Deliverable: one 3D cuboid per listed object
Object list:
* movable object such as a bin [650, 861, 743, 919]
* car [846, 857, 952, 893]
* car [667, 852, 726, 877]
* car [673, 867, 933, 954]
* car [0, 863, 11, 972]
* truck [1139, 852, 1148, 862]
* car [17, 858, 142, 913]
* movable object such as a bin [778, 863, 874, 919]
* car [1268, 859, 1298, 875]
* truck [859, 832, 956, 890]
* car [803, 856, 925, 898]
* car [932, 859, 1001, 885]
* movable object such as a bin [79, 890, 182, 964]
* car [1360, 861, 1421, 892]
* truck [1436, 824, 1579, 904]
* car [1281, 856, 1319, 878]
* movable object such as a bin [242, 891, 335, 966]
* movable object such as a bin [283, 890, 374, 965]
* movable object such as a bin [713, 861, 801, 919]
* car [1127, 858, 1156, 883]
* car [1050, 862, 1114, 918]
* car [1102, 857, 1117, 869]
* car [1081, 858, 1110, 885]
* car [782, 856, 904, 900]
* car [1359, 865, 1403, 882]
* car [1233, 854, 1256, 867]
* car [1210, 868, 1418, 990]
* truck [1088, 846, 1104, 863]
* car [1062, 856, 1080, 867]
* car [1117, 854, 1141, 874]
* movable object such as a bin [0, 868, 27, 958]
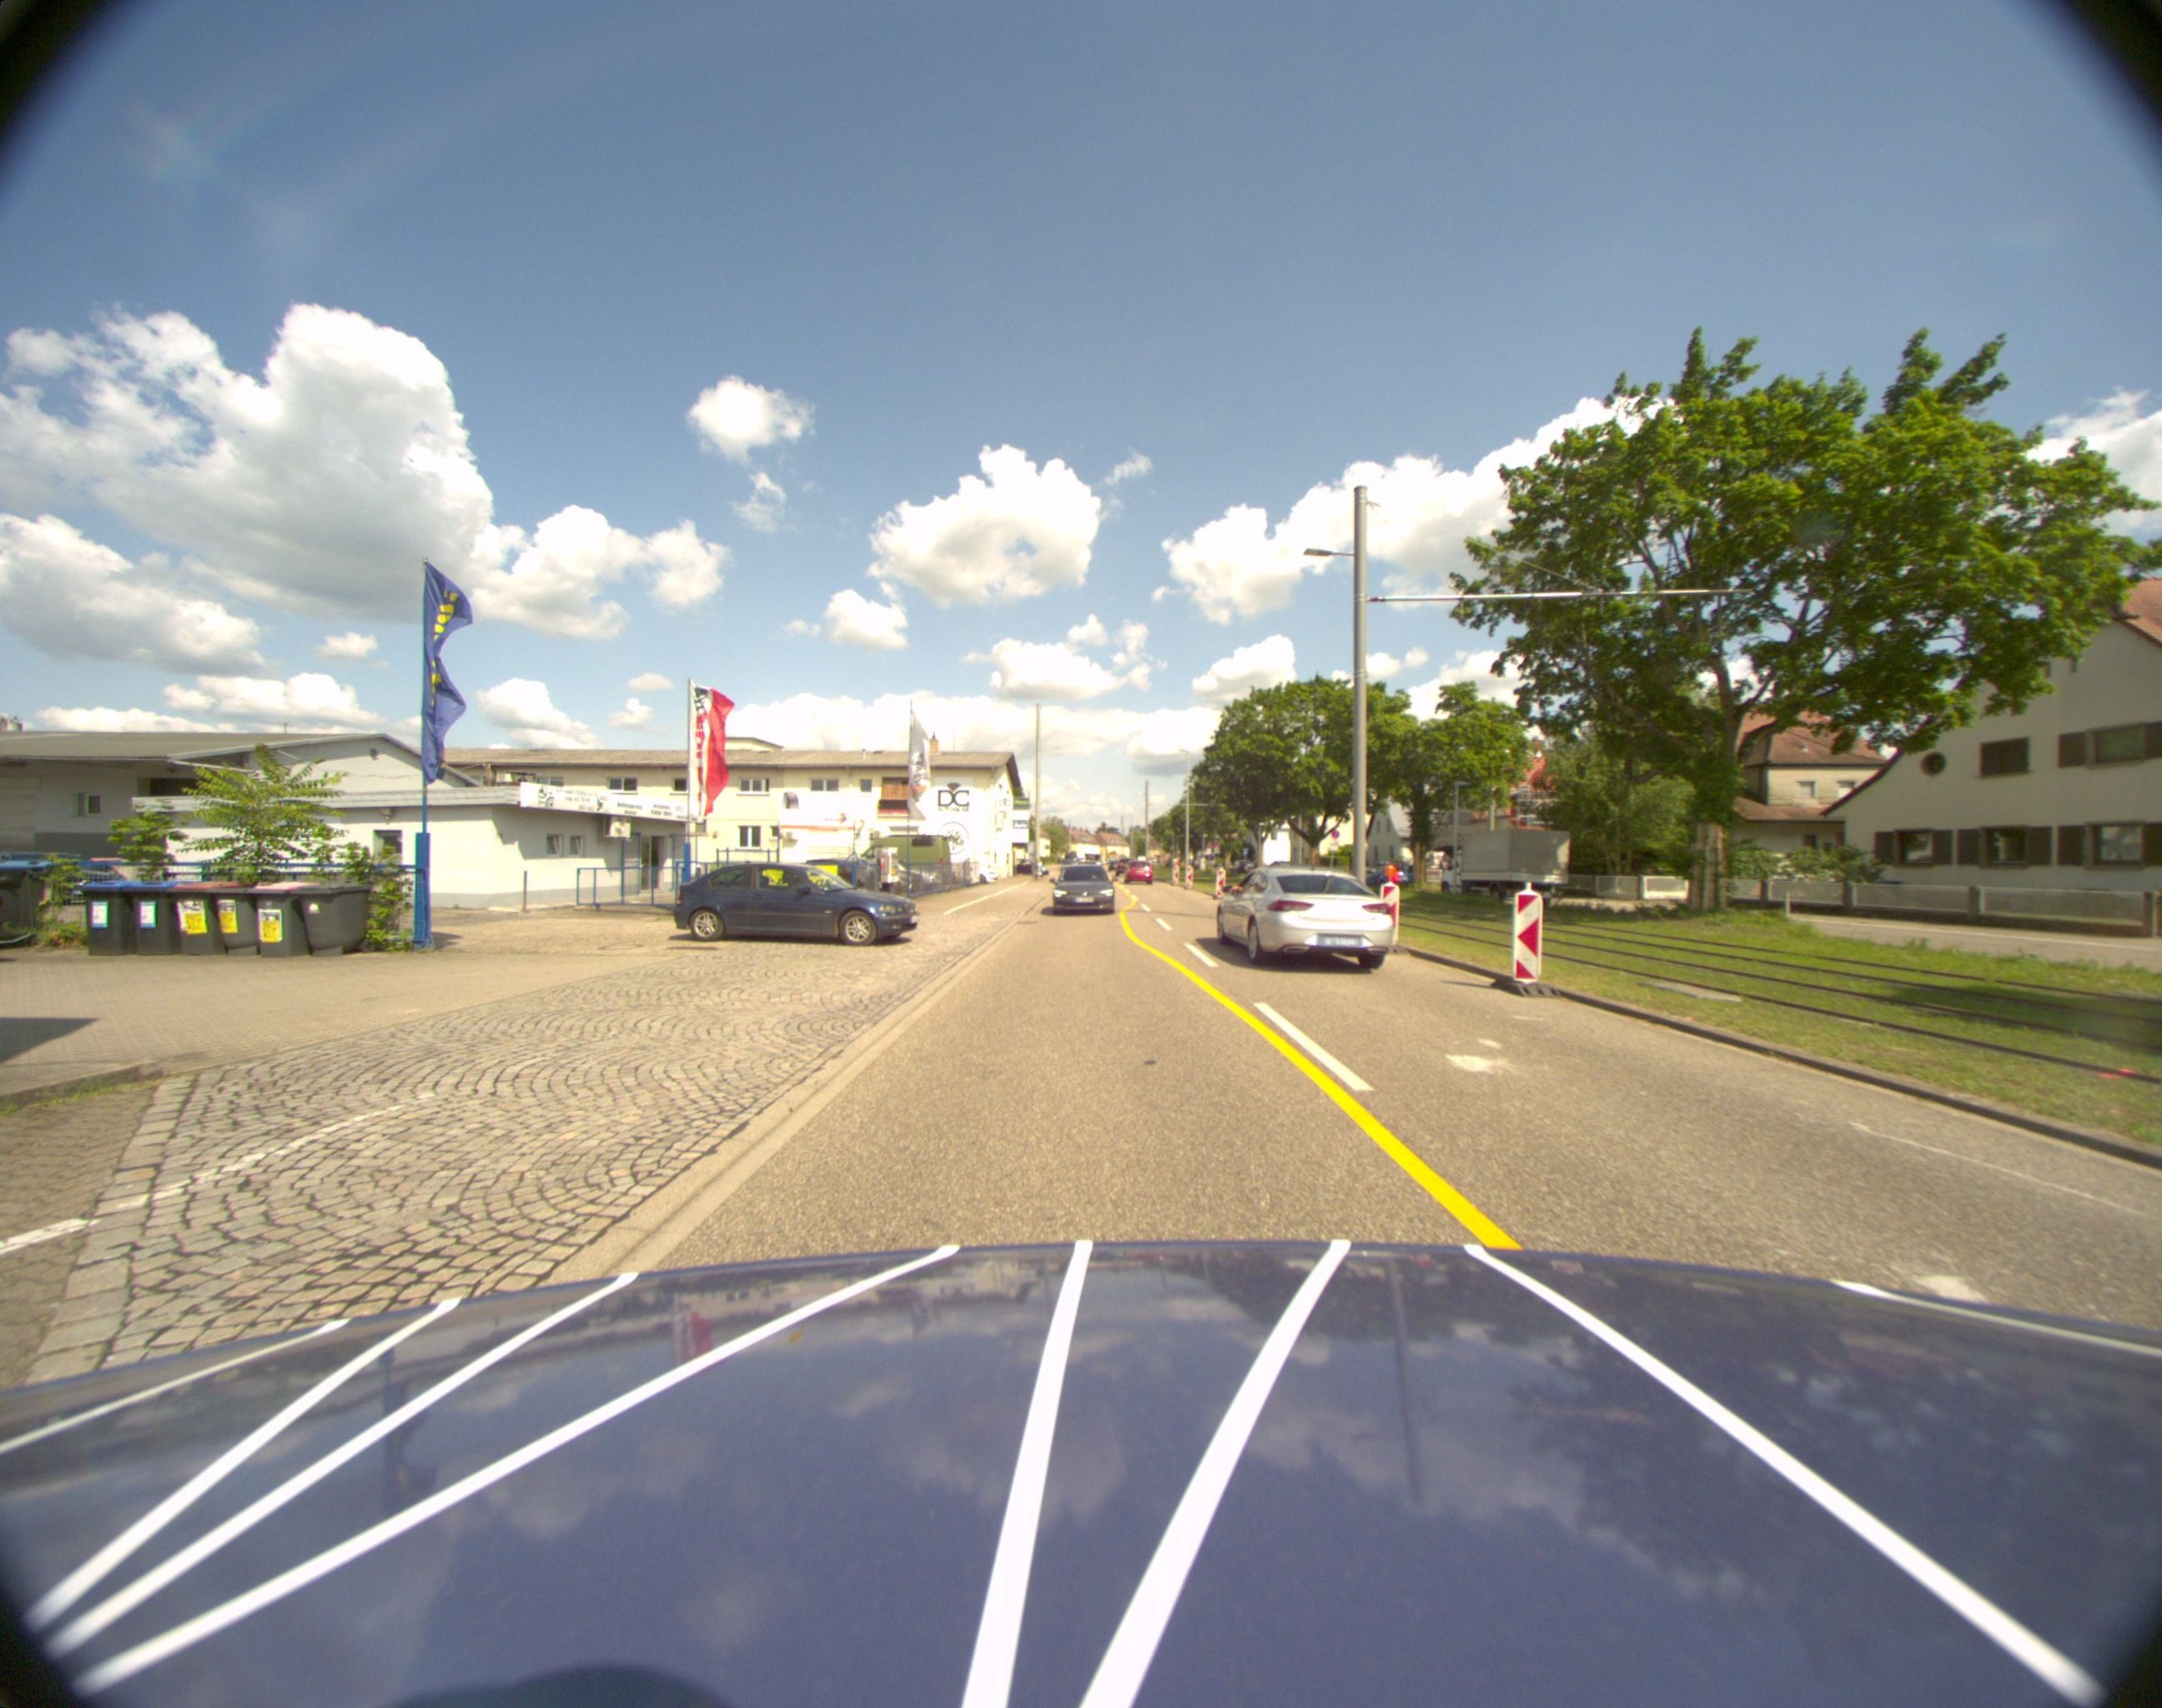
[{"bbox_3d":[-10.253,0.937,20.343,1.536,1.402,1.765,-2,1,0],"label":"movable object such as a bin"},{"bbox_3d":[-8.252,0.938,34.584,4.257,1.499,1.828,-1,1,9],"label":"car"},{"bbox_3d":[-21.115,0.569,41.858,1.453,1.254,3.276,-2,1,2],"label":"car"},{"bbox_3d":[-4.906,0.956,13.669,4.060,1.400,1.648,0,1,7],"label":"car"},{"bbox_3d":[-16.197,0.806,9.186,4.144,1.416,1.771,1,1,2],"label":"car"},{"bbox_3d":[20.191,0.981,244.006,2.665,2.786,7.539,-1,1,4],"label":"truck"},{"bbox_3d":[-26.599,0.796,20.163,3.663,1.345,1.642,-1,0,31],"label":"car"},{"bbox_3d":[-6.778,0.968,20.362,1.968,1.339,1.708,-2,1,0],"label":"movable object such as a bin"},{"bbox_3d":[17.034,1.087,64.240,1.624,1.235,3.787,-2,1,1],"label":"car"},{"bbox_3d":[-8.462,0.336,37.372,4.181,2.645,2.108,-1,1,2],"label":"truck"},{"bbox_3d":[-8.487,0.893,29.765,4.254,1.496,1.829,-1,1,17],"label":"car"},{"bbox_3d":[-6.697,1.053,44.522,3.725,1.350,1.518,-1,1,4],"label":"car"},{"bbox_3d":[-13.964,1.057,11.180,0.582,1.004,0.706,-2,1,0],"label":"movable object such as a bin"},{"bbox_3d":[16.497,1.168,40.701,1.672,1.504,3.930,-2,1,1],"label":"car"},{"bbox_3d":[16.651,0.338,30.165,2.371,2.789,5.951,-2,1,1],"label":"truck"},{"bbox_3d":[16.777,0.965,58.434,1.707,1.504,4.524,-2,1,1],"label":"car"},{"bbox_3d":[-11.632,1.081,11.180,0.582,1.004,0.706,-2,1,0],"label":"movable object such as a bin"},{"bbox_3d":[-11.031,1.065,11.162,0.582,1.004,0.706,-2,1,0],"label":"movable object such as a bin"},{"bbox_3d":[-8.642,0.936,20.398,1.536,1.402,1.765,-2,1,0],"label":"movable object such as a bin"},{"bbox_3d":[3.777,1.019,48.087,1.582,1.460,3.720,1,0,1],"label":"car"},{"bbox_3d":[0.099,1.006,23.083,1.743,1.410,4.381,-1,1,2],"label":"car"},{"bbox_3d":[3.770,1.106,100.041,1.715,1.478,4.536,1,0,-1],"label":"car"},{"bbox_3d":[0.841,0.989,44.967,1.594,1.418,3.707,-2,1,1],"label":"car"},{"bbox_3d":[-8.474,0.835,27.077,3.901,1.454,1.628,0,1,17],"label":"car"},{"bbox_3d":[25.412,1.656,64.440,3.237,1.374,1.490,-1,1,31],"label":"car"},{"bbox_3d":[17.233,0.686,80.148,1.636,1.294,4.000,-2,1,1],"label":"car"},{"bbox_3d":[3.326,0.987,11.845,1.825,1.436,4.484,2,0,0],"label":"car"},{"bbox_3d":[2.730,0.124,137.112,2.632,2.871,7.923,-2,1,2],"label":"truck"},{"bbox_3d":[-1.317,1.007,100.562,1.823,1.412,4.002,1,0,7],"label":"car"},{"bbox_3d":[4.277,0.887,68.338,1.801,1.680,4.221,2,0,0],"label":"car"},{"bbox_3d":[-16.002,0.869,10.943,0.582,1.289,0.706,-2,1,0],"label":"movable object such as a bin"}]
